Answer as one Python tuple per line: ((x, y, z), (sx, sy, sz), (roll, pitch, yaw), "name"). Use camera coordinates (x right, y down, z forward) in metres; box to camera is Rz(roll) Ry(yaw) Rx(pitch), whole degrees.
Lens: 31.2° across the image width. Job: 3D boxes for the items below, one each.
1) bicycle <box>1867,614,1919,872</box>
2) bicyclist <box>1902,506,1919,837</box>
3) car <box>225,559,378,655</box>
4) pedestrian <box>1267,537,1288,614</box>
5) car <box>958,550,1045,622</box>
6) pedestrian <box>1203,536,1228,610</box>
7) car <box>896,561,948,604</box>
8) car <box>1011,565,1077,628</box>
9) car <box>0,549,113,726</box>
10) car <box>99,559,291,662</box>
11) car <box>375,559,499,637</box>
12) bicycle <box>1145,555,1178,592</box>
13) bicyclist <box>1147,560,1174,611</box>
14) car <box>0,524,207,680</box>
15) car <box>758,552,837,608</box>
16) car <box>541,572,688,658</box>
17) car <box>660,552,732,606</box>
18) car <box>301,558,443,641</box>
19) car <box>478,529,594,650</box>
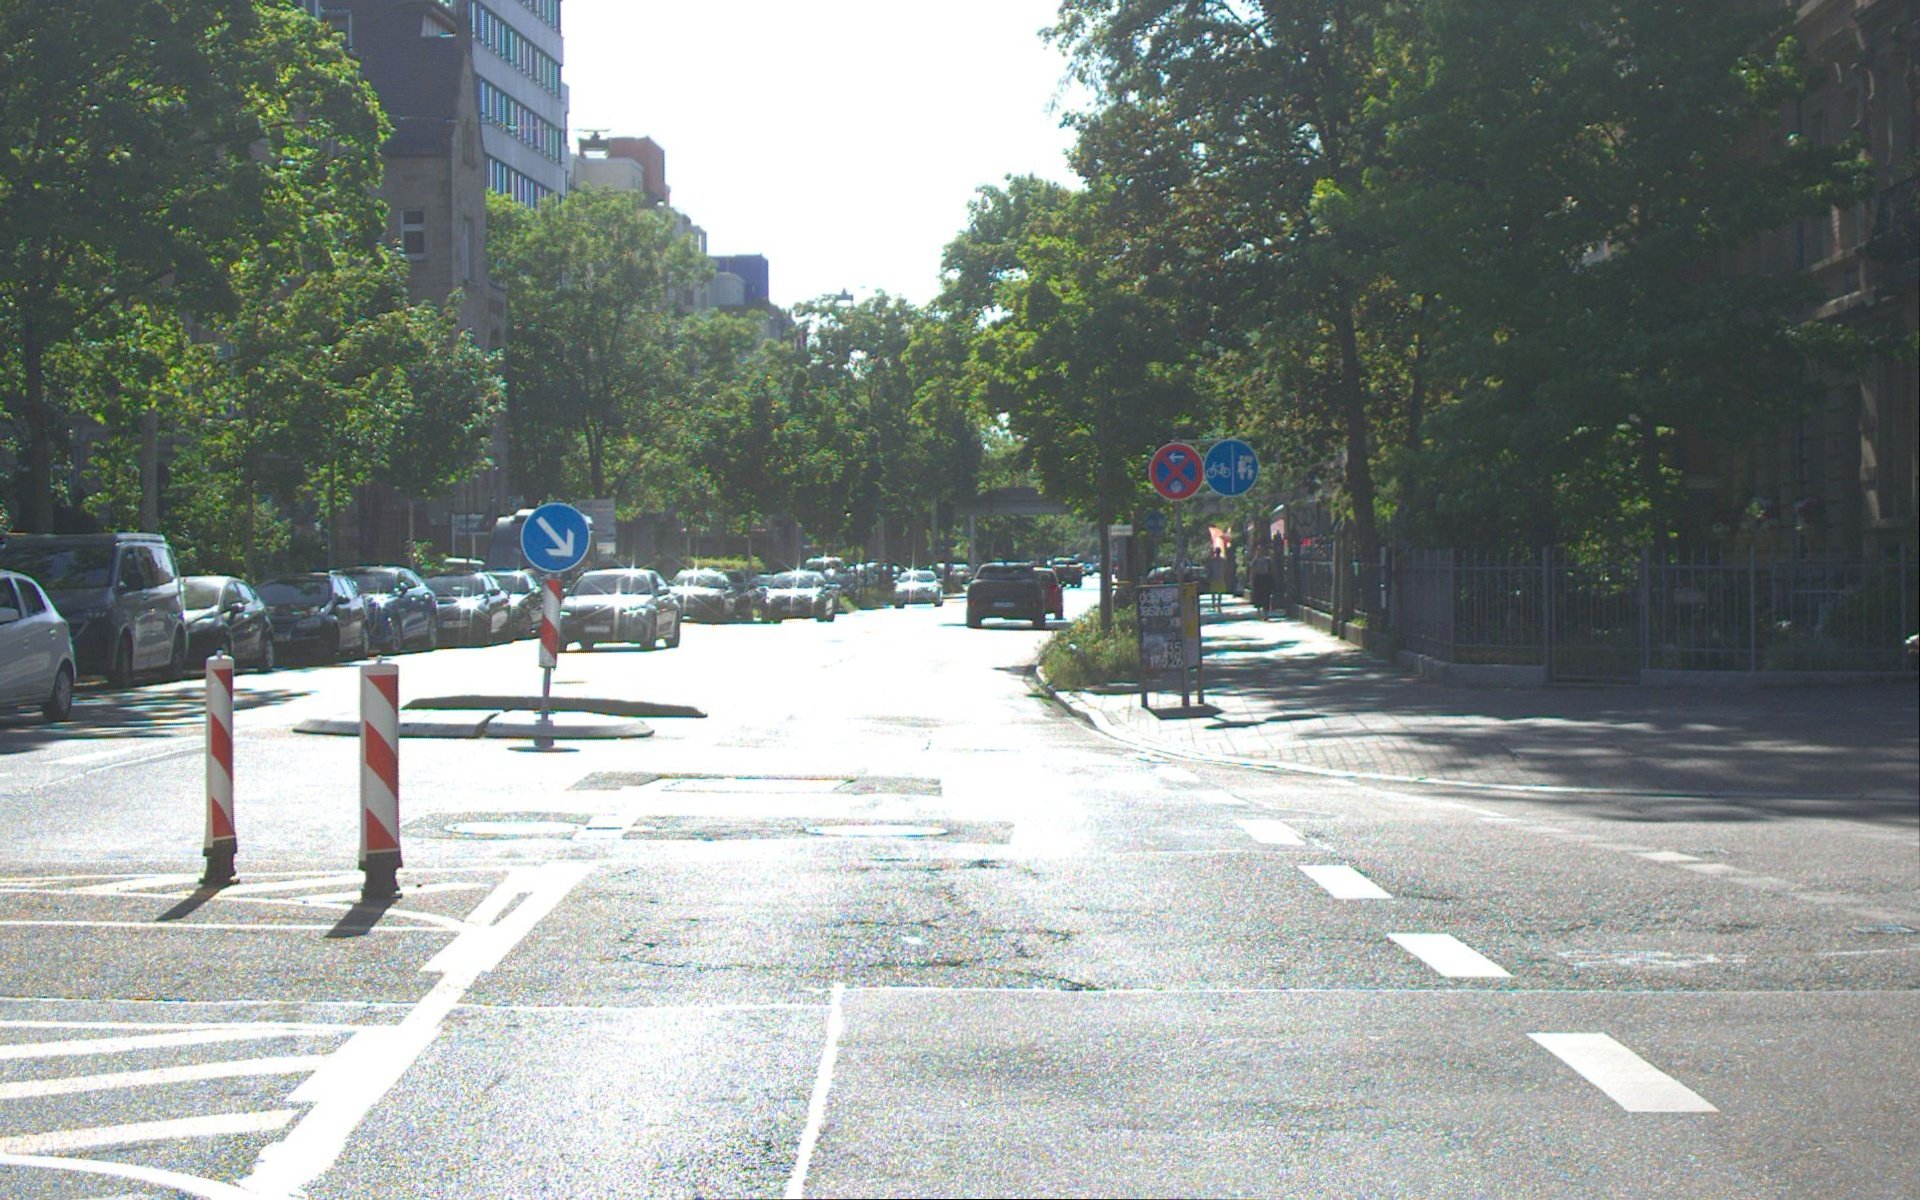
((4.958, 0.688, 16.316), (0.741, 1.215, 1.960), (-2, 1, 0), "bicycle")
((4.956, 0.355, 16.106), (0.741, 1.574, 1.100), (1, 2, 0), "bicyclist")
((-10.621, 0.136, 55.645), (1.524, 1.428, 3.336), (1, -2, 6), "car")
((8.421, -0.646, 91.285), (0.476, 2.007, 0.492), (1, -2, -1), "pedestrian")
((0.948, -0.357, 81.272), (1.894, 1.514, 4.001), (2, 2, -1), "car")
((6.948, -0.747, 93.392), (0.614, 2.007, 0.681), (0, 1, -1), "pedestrian")
((-1.476, -0.670, 133.658), (1.935, 1.514, 4.030), (1, -2, -1), "car")
((2.430, -0.125, 99.034), (1.819, 1.734, 4.000), (0, 1, 3), "car")
((-9.294, 0.343, 31.494), (1.759, 1.514, 3.859), (-1, 2, 6), "car")
((-11.104, 0.184, 50.153), (1.713, 1.348, 3.999), (1, -2, 3), "car")
((-9.834, -0.055, 64.840), (1.524, 1.427, 3.336), (0, 1, 6), "car")
((5.368, -0.712, 91.655), (0.675, 0.935, 2.281), (0, -1, -1), "bicycle")
((5.348, -0.378, 91.716), (0.680, 1.323, 0.636), (1, -2, -1), "bicyclist")
((-11.525, -0.007, 45.066), (2.198, 1.923, 4.862), (0, 1, 1), "car")
((-4.520, -0.575, 95.952), (1.639, 1.514, 4.030), (0, 1, 6), "car")
((-6.136, 0.262, 61.527), (1.784, 1.455, 4.414), (1, 0, 6), "car")
((-7.557, -0.613, 98.767), (1.802, 1.499, 3.808), (0, 1, 0), "car")
((-10.420, -0.029, 61.115), (1.524, 1.427, 3.553), (0, 1, 7), "car")
((-9.573, -0.279, 78.028), (1.827, 2.642, 5.161), (0, 1, 2), "car")
